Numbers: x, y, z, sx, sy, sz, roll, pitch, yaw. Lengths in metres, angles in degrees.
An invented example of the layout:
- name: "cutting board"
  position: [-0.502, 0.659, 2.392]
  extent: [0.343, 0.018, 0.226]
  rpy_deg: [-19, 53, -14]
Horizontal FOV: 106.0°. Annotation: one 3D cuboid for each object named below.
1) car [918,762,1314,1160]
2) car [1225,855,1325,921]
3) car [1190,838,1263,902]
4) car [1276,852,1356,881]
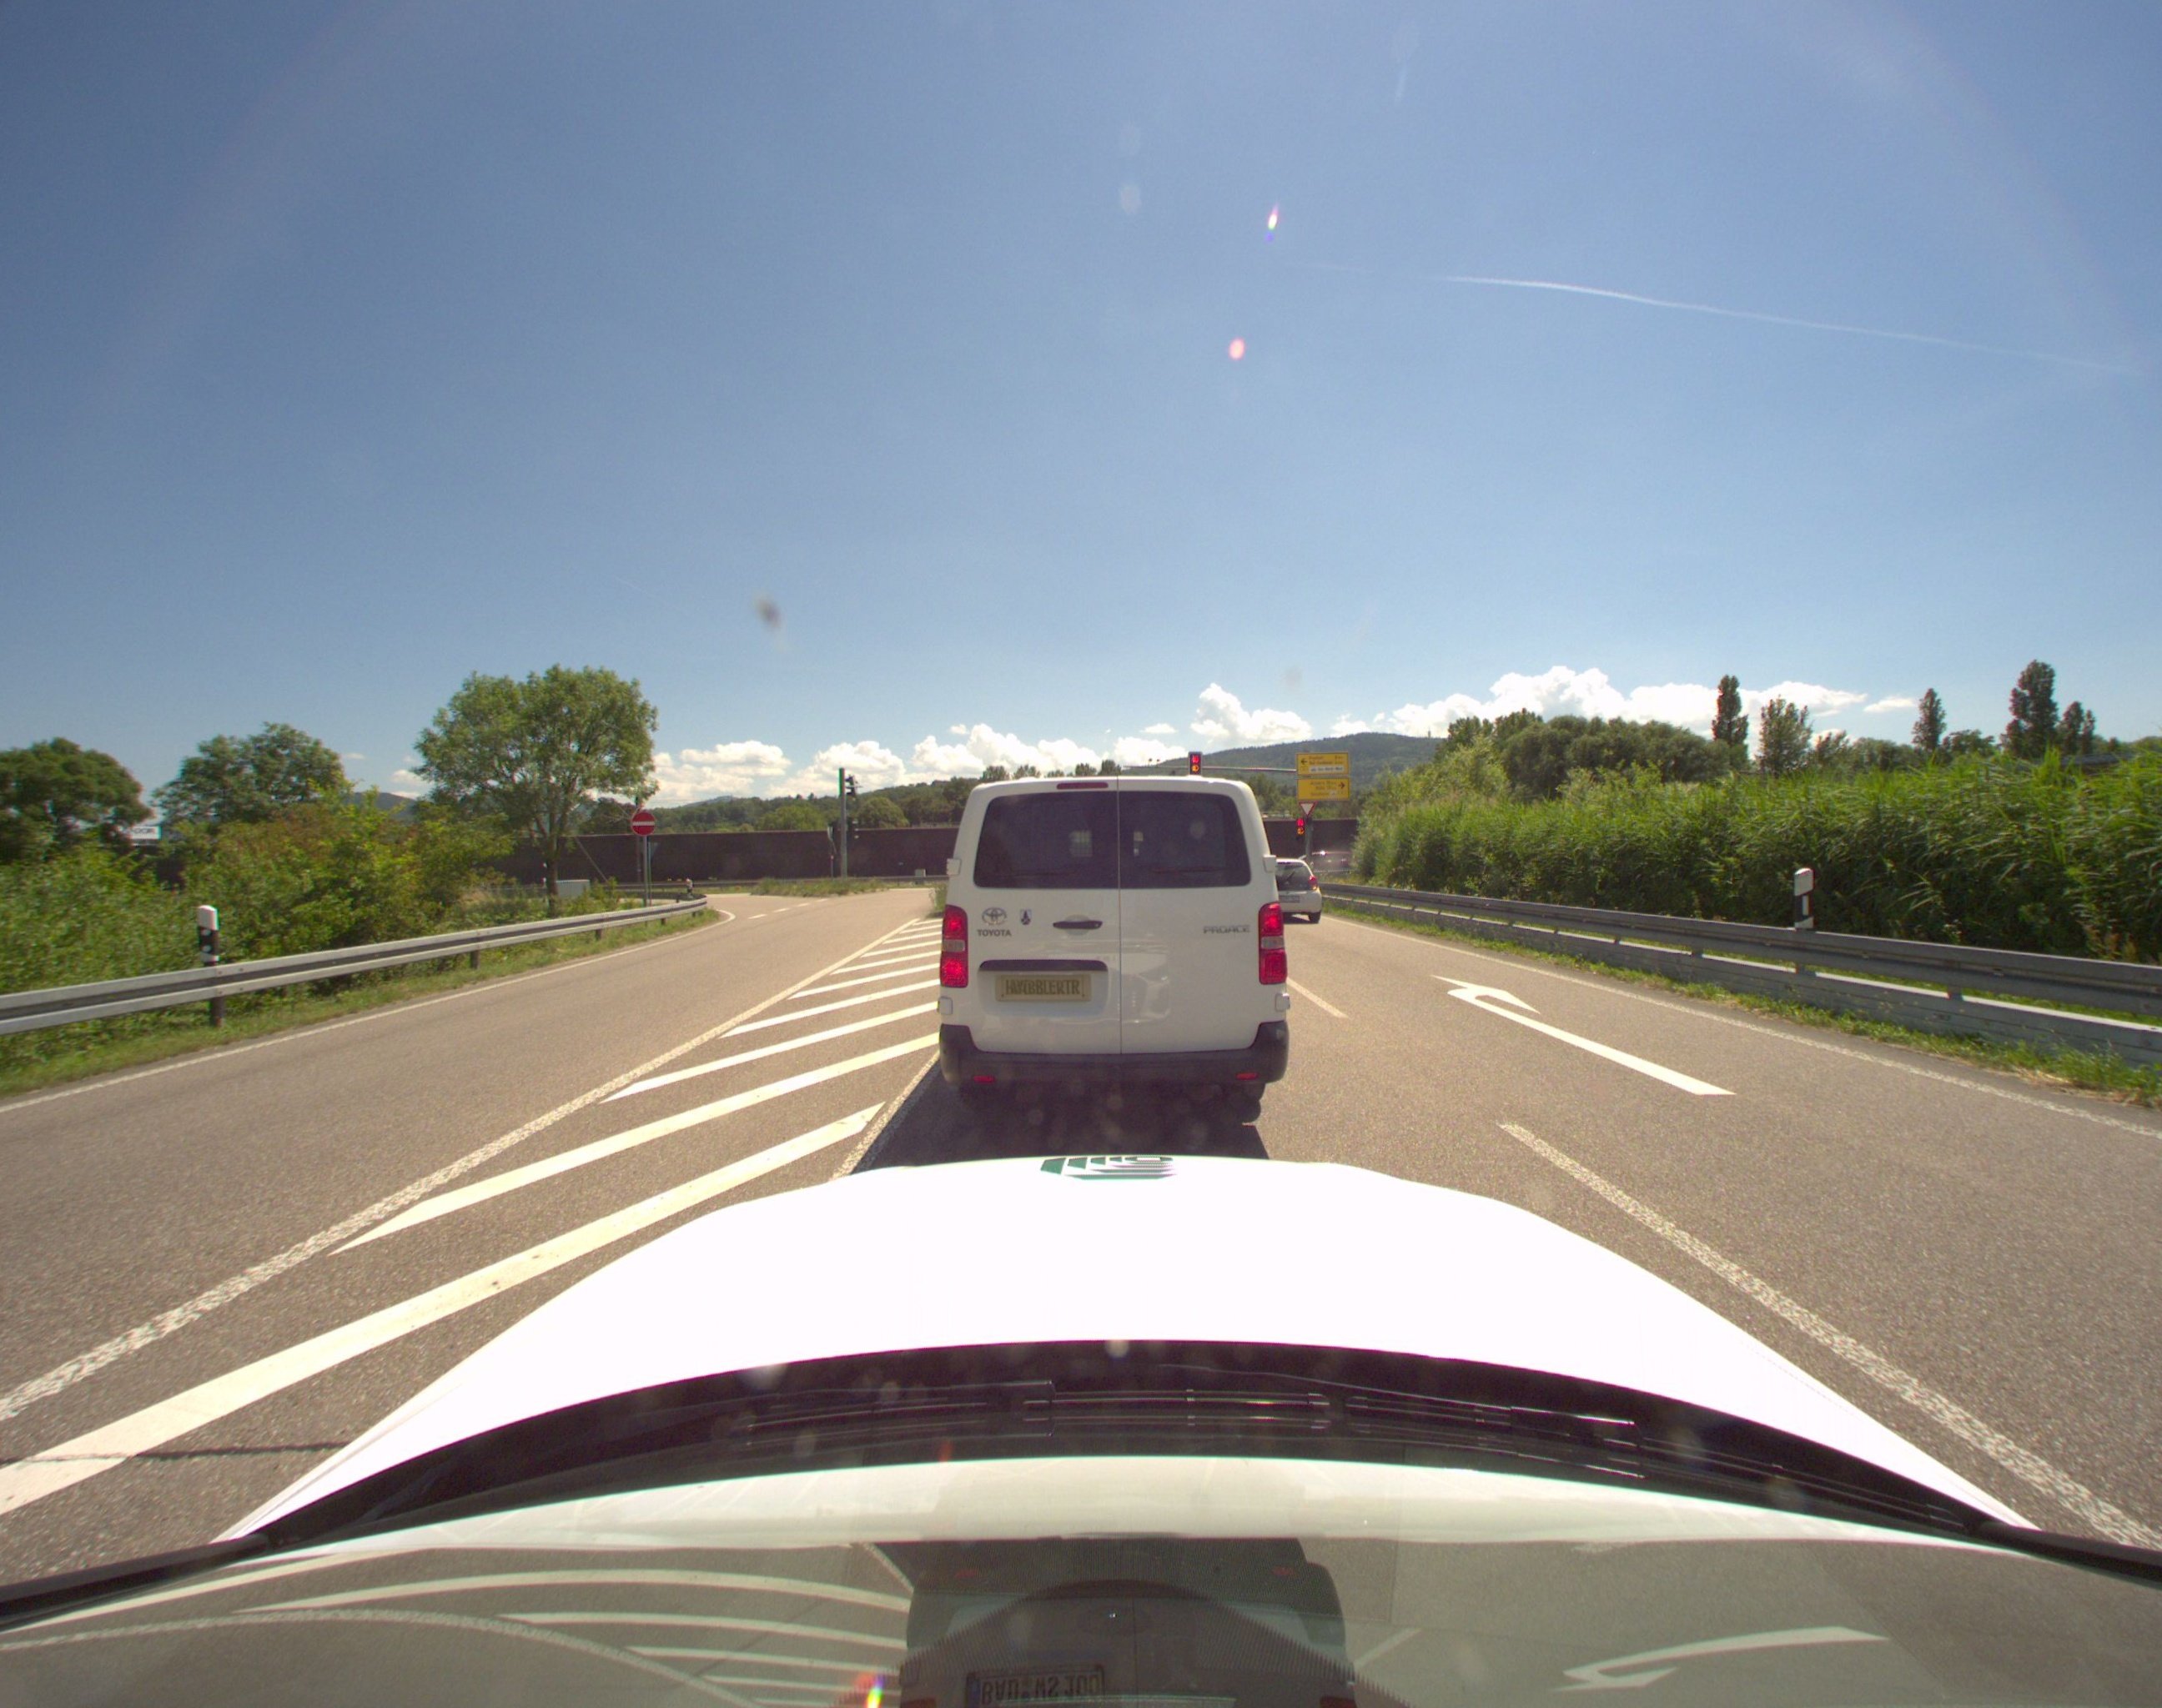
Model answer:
- name: "car"
  position: [0.210, 0.527, 5.902]
  extent: [1.880, 1.886, 4.001]
  rpy_deg: [-1, 0, 1]
- name: "car"
  position: [4.583, 0.763, 19.651]
  extent: [1.650, 1.431, 3.366]
  rpy_deg: [-1, 0, 1]
- name: "car"
  position: [4.929, 0.532, 28.231]
  extent: [1.920, 2.000, 4.842]
  rpy_deg: [-1, 0, 3]
- name: "car"
  position: [14.270, 0.740, 49.640]
  extent: [4.298, 1.656, 1.999]
  rpy_deg: [-1, -1, -2]
